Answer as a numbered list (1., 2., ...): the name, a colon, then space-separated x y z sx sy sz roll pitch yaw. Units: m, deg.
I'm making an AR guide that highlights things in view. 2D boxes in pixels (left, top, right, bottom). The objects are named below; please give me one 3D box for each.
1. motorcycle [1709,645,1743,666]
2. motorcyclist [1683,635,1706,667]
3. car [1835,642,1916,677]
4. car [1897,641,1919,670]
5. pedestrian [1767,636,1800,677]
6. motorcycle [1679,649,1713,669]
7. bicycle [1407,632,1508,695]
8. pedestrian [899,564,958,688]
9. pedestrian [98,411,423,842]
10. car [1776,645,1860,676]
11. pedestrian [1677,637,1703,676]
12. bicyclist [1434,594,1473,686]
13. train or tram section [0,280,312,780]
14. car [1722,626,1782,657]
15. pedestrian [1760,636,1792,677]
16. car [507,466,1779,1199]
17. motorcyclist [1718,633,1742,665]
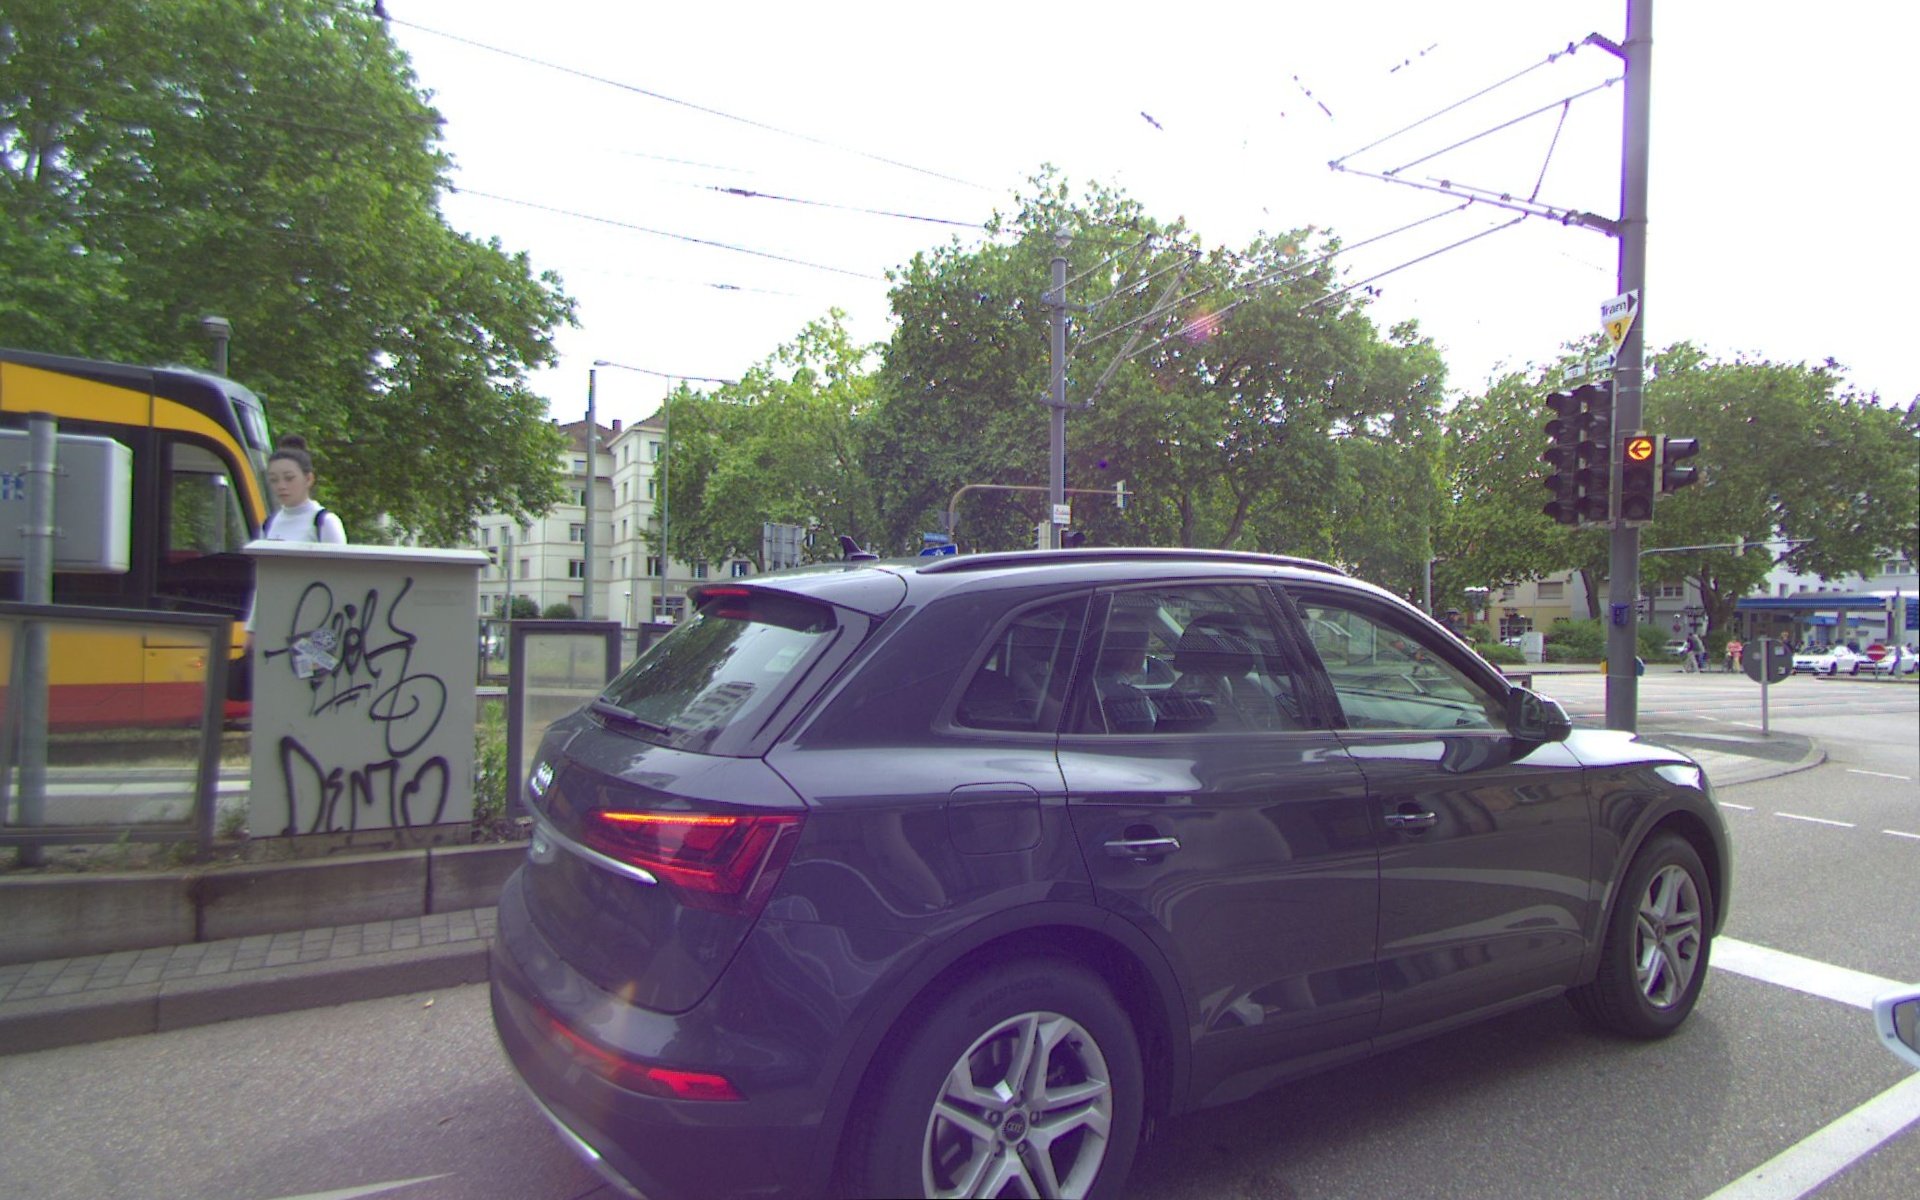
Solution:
1. motorcycle: 36.927 2.670 48.429 1.928 0.941 0.604 2 -1 -30
2. motorcyclist: 35.802 2.485 48.942 0.863 1.540 0.617 2 -1 -30
3. car: 46.976 3.025 51.518 3.953 1.615 1.984 2 0 -30
4. car: 52.779 3.037 54.600 3.593 1.497 1.649 2 0 -29
5. pedestrian: 35.789 2.430 43.637 0.865 1.735 0.867 2 -1 -29
6. motorcycle: 35.943 2.864 49.024 1.928 0.941 0.604 2 -1 -30
7. bicycle: 11.285 1.409 22.804 1.962 1.289 0.749 2 0 31
8. pedestrian: -0.521 0.423 16.514 0.658 1.976 0.732 2 0 -30
9. pedestrian: -3.131 0.106 4.551 0.709 1.692 0.977 2 0 31
10. car: 41.216 2.906 48.244 4.025 1.338 1.739 2 0 -29
11. pedestrian: 33.014 2.568 45.433 0.732 1.713 0.681 2 0 -25
12. bicyclist: 11.236 0.900 22.866 0.682 2.040 0.781 2 0 32
13. train or tram section: -13.077 -0.710 6.157 15.026 3.802 3.314 2 0 -31
14. car: 54.627 2.883 69.275 3.953 2.040 1.984 2 -1 -30
15. pedestrian: 35.104 2.409 43.238 0.682 1.735 0.864 1 -1 -26
16. car: 0.825 0.660 3.454 4.177 1.658 1.725 2 0 -30
17. motorcyclist: 37.233 2.369 48.568 0.863 1.540 0.617 2 -1 -30
